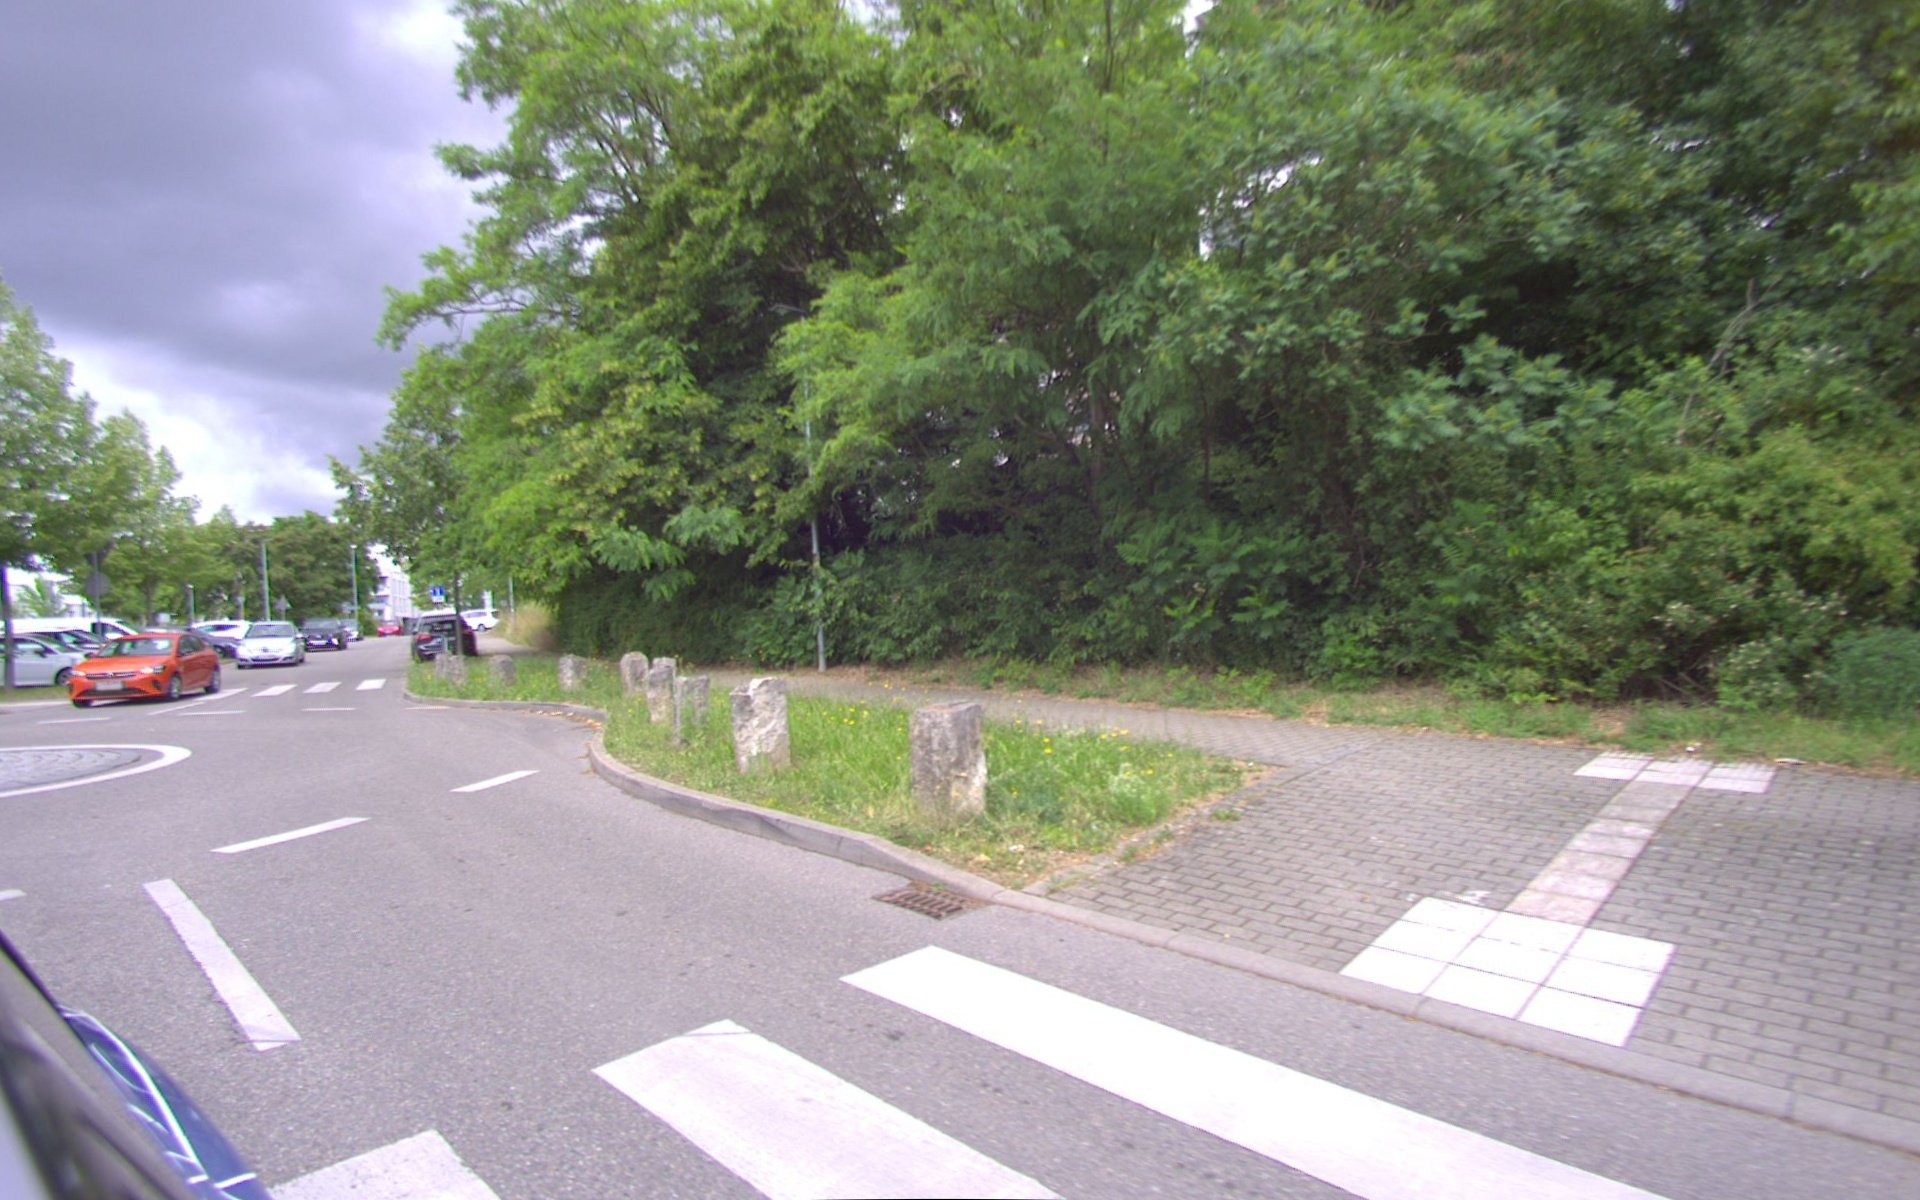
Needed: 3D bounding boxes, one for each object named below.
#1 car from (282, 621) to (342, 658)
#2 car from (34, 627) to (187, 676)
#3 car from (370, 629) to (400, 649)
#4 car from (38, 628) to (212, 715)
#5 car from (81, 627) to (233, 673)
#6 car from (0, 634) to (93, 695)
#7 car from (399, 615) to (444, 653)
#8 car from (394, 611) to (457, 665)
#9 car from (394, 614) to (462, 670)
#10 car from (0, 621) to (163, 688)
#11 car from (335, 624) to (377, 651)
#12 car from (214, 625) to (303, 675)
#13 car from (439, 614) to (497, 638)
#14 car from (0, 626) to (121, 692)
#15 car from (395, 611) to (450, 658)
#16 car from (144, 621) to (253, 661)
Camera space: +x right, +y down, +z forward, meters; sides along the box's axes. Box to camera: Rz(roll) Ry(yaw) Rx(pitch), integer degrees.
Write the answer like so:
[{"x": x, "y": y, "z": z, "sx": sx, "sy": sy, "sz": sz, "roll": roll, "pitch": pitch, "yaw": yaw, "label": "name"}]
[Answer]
[{"x": -31.447, "y": 1.891, "z": 49.246, "sx": 1.730, "sy": 1.628, "sz": 4.013, "roll": -3, "pitch": 0, "yaw": -23, "label": "car"}, {"x": -29.570, "y": 1.760, "z": 35.365, "sx": 3.771, "sy": 1.531, "sz": 1.918, "roll": -1, "pitch": -1, "yaw": -29, "label": "car"}, {"x": -50.725, "y": 3.432, "z": 89.313, "sx": 1.730, "sy": 1.628, "sz": 4.013, "roll": -3, "pitch": 0, "yaw": -23, "label": "car"}, {"x": -17.657, "y": 1.440, "z": 21.639, "sx": 1.730, "sy": 1.527, "sz": 4.013, "roll": -3, "pitch": 0, "yaw": -23, "label": "car"}, {"x": -32.002, "y": 1.952, "z": 40.514, "sx": 4.512, "sy": 1.503, "sz": 1.957, "roll": -2, "pitch": 0, "yaw": -31, "label": "car"}, {"x": -24.790, "y": 1.666, "z": 26.036, "sx": 3.462, "sy": 1.472, "sz": 1.744, "roll": 0, "pitch": -1, "yaw": -28, "label": "car"}, {"x": -25.213, "y": 1.560, "z": 47.435, "sx": 1.667, "sy": 1.522, "sz": 4.244, "roll": -6, "pitch": 2, "yaw": -28, "label": "car"}, {"x": -19.578, "y": 1.326, "z": 37.102, "sx": 1.775, "sy": 1.627, "sz": 4.492, "roll": -6, "pitch": 3, "yaw": -28, "label": "car"}, {"x": -16.933, "y": 1.296, "z": 32.263, "sx": 1.667, "sy": 1.475, "sz": 4.470, "roll": -6, "pitch": 2, "yaw": -28, "label": "car"}, {"x": -27.143, "y": 1.607, "z": 30.387, "sx": 4.706, "sy": 1.845, "sz": 1.849, "roll": -1, "pitch": -1, "yaw": -24, "label": "car"}, {"x": -39.563, "y": 2.423, "z": 66.328, "sx": 1.730, "sy": 1.628, "sz": 4.013, "roll": -3, "pitch": 0, "yaw": -23, "label": "car"}, {"x": -24.799, "y": 1.714, "z": 35.899, "sx": 1.730, "sy": 1.527, "sz": 4.013, "roll": -3, "pitch": 0, "yaw": -23, "label": "car"}, {"x": -38.242, "y": 2.019, "z": 78.660, "sx": 3.966, "sy": 1.652, "sz": 1.663, "roll": -3, "pitch": 0, "yaw": 18, "label": "car"}, {"x": -25.978, "y": 1.654, "z": 27.890, "sx": 4.093, "sy": 1.614, "sz": 1.744, "roll": -3, "pitch": 0, "yaw": -29, "label": "car"}, {"x": -22.414, "y": 1.410, "z": 42.232, "sx": 1.782, "sy": 1.676, "sz": 4.450, "roll": -6, "pitch": 2, "yaw": -28, "label": "car"}, {"x": -34.029, "y": 1.801, "z": 45.337, "sx": 3.618, "sy": 1.659, "sz": 1.858, "roll": -1, "pitch": -1, "yaw": -26, "label": "car"}]
